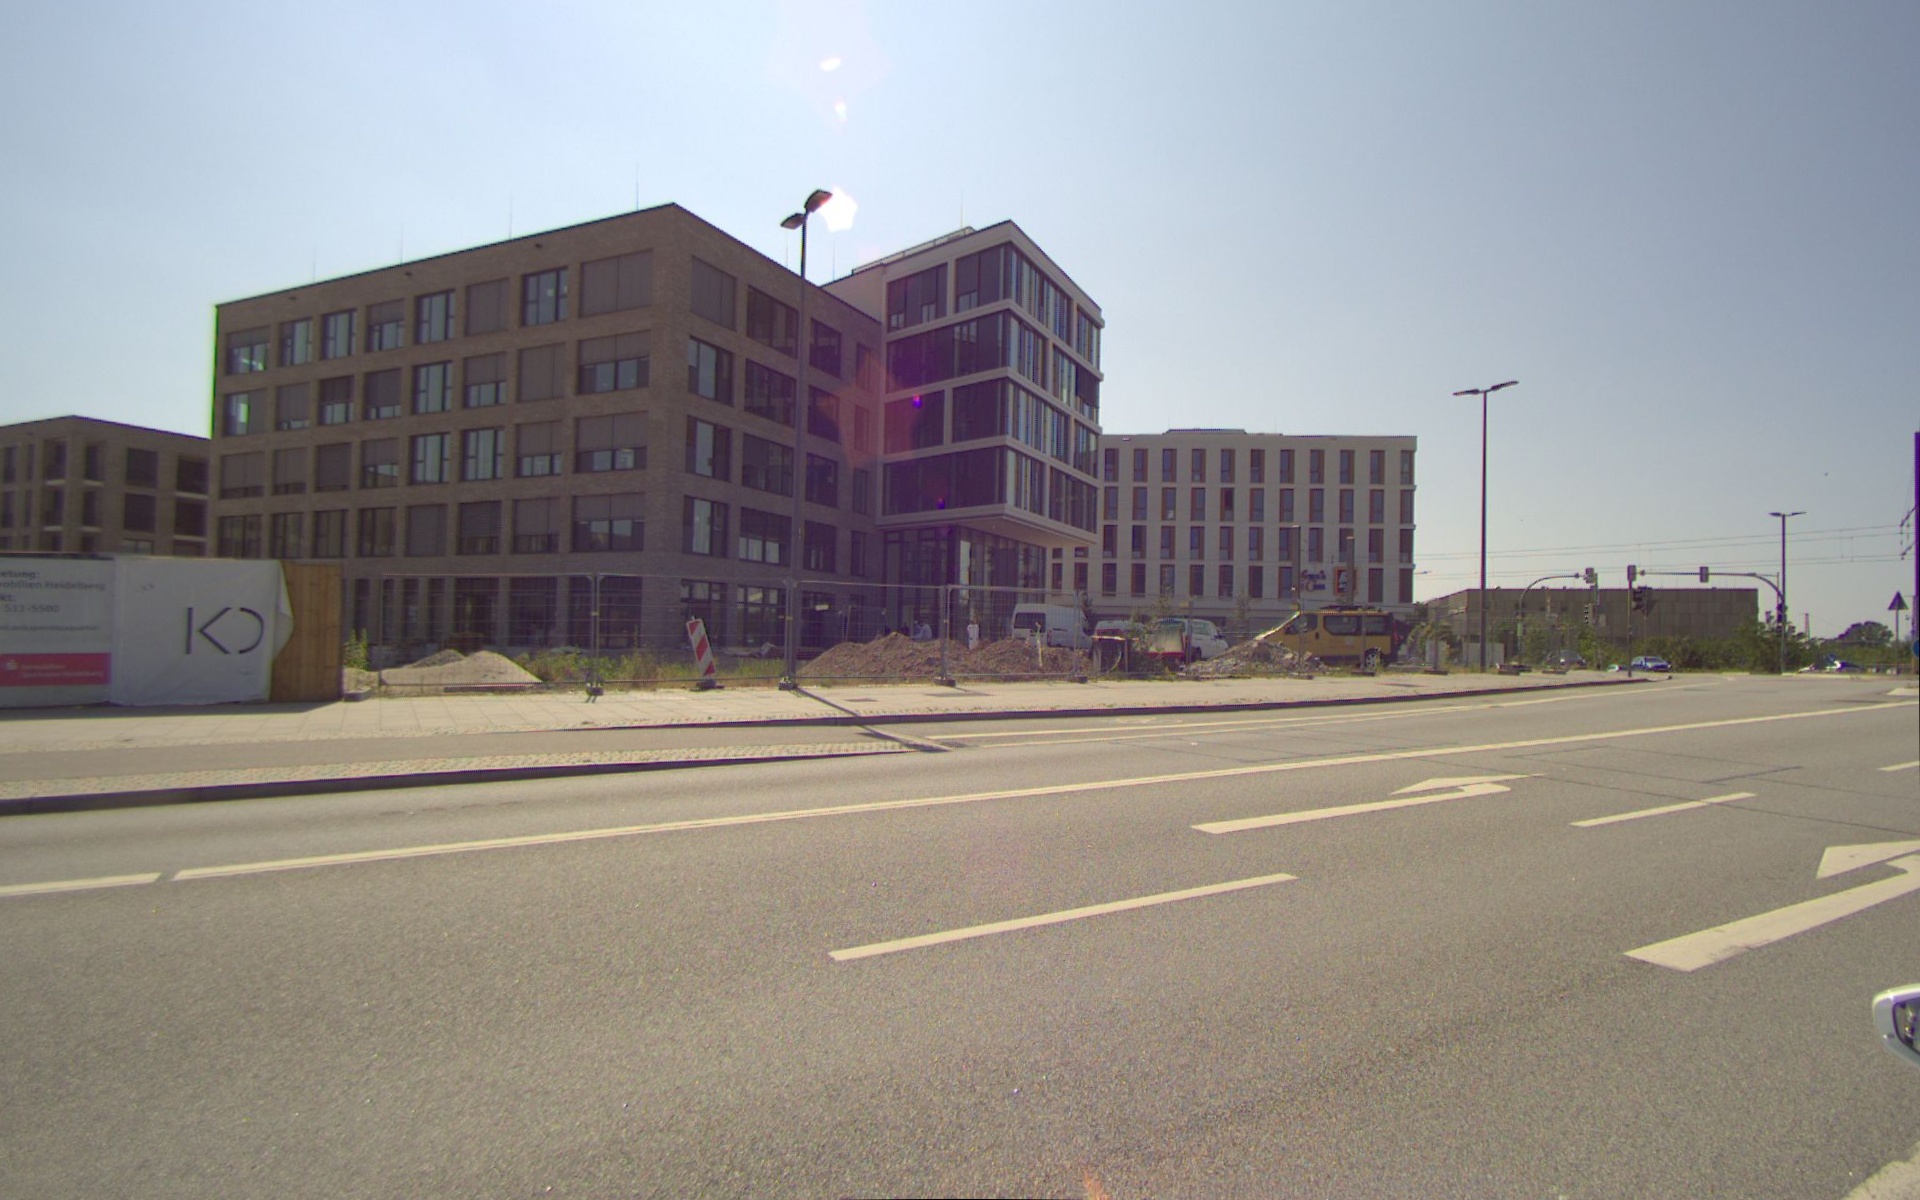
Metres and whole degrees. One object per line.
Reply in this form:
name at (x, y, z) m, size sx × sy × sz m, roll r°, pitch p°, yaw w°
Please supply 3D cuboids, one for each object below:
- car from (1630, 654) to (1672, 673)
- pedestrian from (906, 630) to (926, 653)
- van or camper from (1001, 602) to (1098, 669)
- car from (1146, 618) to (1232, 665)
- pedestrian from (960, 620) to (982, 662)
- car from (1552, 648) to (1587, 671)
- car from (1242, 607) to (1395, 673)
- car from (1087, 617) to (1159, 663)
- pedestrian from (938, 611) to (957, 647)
car at (54.337, 4.978, 79.052) m, size 1.787 × 1.348 × 4.000 m, roll 2°, pitch -2°, yaw 20°
pedestrian at (-2.071, 1.972, 47.629) m, size 0.734 × 1.041 × 0.699 m, roll 2°, pitch 0°, yaw 16°
van or camper at (4.092, 1.556, 45.001) m, size 2.273 × 2.772 × 4.975 m, roll 2°, pitch 0°, yaw 32°
car at (9.672, 1.695, 42.171) m, size 1.841 × 1.797 × 4.637 m, roll 2°, pitch 0°, yaw 36°
pedestrian at (0.478, 1.713, 42.451) m, size 0.734 × 1.741 × 0.699 m, roll 2°, pitch 0°, yaw 16°
car at (44.302, 4.325, 73.084) m, size 1.646 × 1.496 × 3.405 m, roll 0°, pitch -1°, yaw 22°
car at (11.970, 1.298, 33.819) m, size 4.533 × 1.988 × 1.991 m, roll 2°, pitch 0°, yaw 9°
car at (7.128, 1.701, 43.670) m, size 1.759 × 1.881 × 3.842 m, roll 2°, pitch 0°, yaw 32°
pedestrian at (-0.596, 1.420, 48.991) m, size 0.734 × 1.741 × 0.699 m, roll 2°, pitch 0°, yaw 16°
